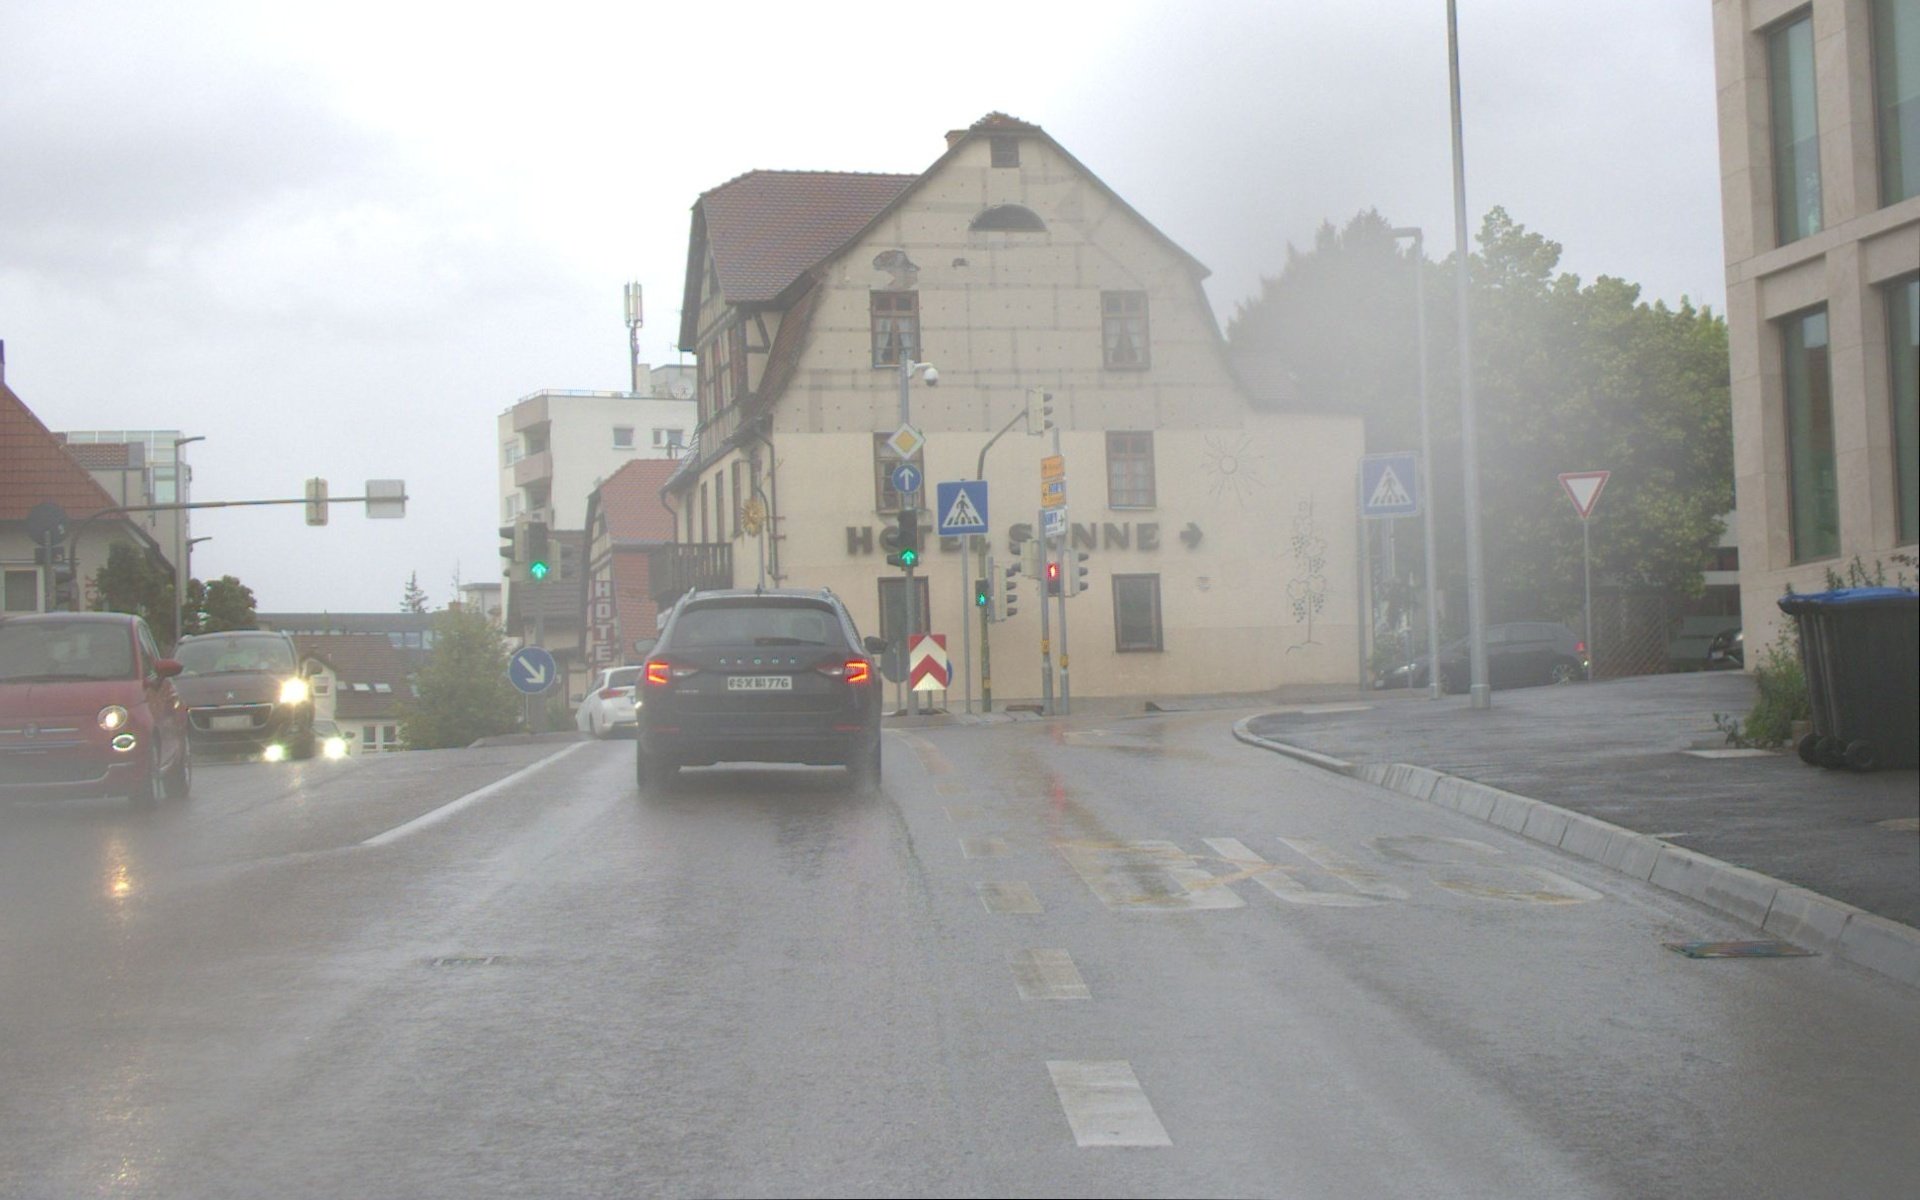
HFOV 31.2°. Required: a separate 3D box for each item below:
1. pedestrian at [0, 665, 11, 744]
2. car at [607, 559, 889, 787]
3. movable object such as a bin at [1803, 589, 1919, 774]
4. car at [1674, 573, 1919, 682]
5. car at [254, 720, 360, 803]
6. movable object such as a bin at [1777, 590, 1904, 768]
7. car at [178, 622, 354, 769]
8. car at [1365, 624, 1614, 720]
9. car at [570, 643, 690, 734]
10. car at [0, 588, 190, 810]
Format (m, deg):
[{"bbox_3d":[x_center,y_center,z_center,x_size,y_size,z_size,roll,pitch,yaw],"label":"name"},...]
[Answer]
[{"bbox_3d":[-18.989,2.066,67.513,0.592,1.554,0.634,-2,-2,-17],"label":"pedestrian"},{"bbox_3d":[-1.590,0.493,26.314,1.944,1.561,4.418,-1,1,-3],"label":"car"},{"bbox_3d":[5.365,0.475,20.309,0.595,1.058,0.579,-2,0,0],"label":"movable object such as a bin"},{"bbox_3d":[16.768,0.559,68.985,4.300,1.810,1.778,-3,-5,-14],"label":"car"},{"bbox_3d":[-13.339,3.276,70.391,1.886,1.462,4.001,-3,0,-8],"label":"car"},{"bbox_3d":[5.376,0.475,21.009,0.595,1.058,0.579,-2,0,0],"label":"movable object such as a bin"},{"bbox_3d":[-8.358,1.114,41.686,1.781,1.624,4.217,-1,0,-8],"label":"car"},{"bbox_3d":[10.247,1.404,66.565,4.300,1.500,1.778,-3,-5,-16],"label":"car"},{"bbox_3d":[-5.859,1.534,60.707,1.886,1.462,4.001,-3,0,-8],"label":"car"},{"bbox_3d":[-6.857,0.713,26.177,1.559,1.530,3.450,-3,0,-7],"label":"car"}]
